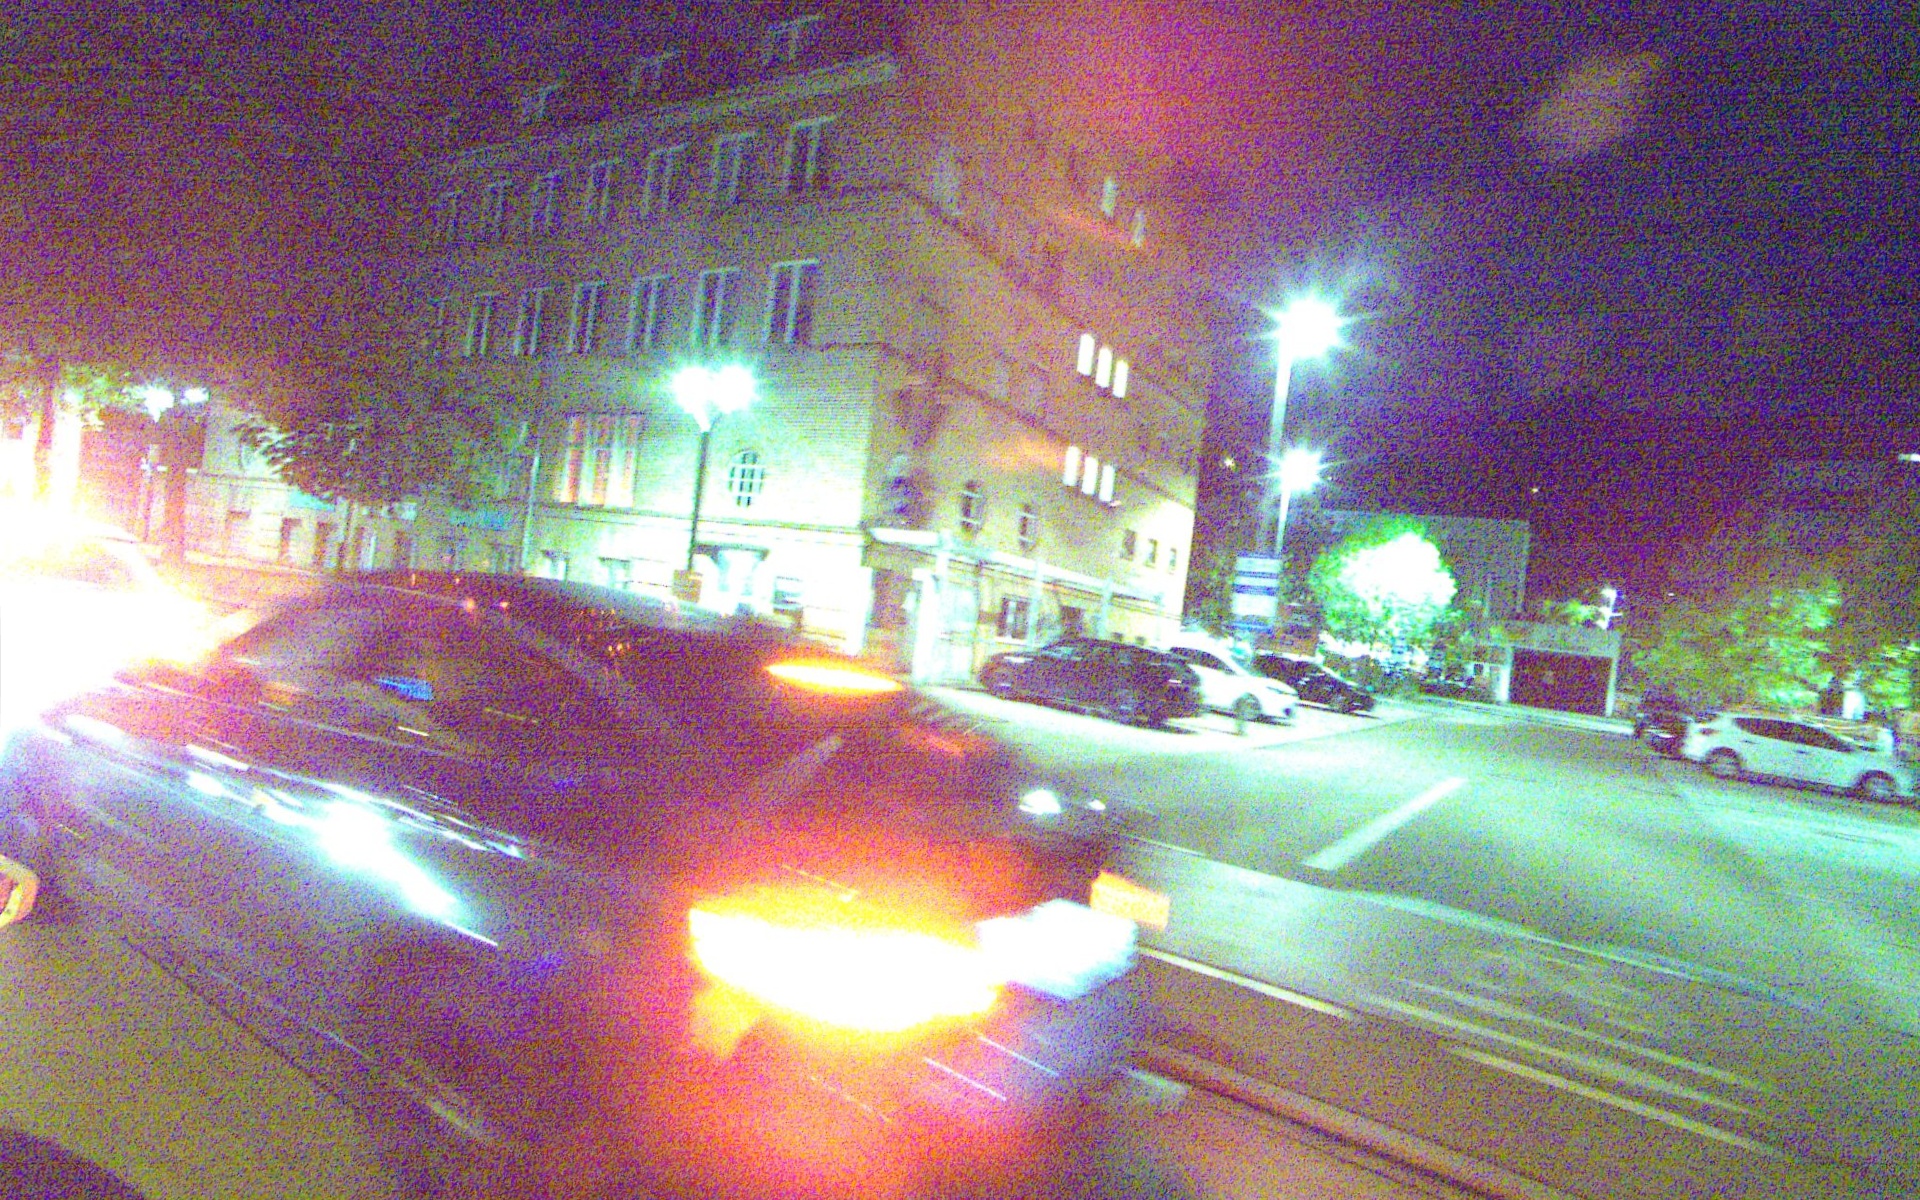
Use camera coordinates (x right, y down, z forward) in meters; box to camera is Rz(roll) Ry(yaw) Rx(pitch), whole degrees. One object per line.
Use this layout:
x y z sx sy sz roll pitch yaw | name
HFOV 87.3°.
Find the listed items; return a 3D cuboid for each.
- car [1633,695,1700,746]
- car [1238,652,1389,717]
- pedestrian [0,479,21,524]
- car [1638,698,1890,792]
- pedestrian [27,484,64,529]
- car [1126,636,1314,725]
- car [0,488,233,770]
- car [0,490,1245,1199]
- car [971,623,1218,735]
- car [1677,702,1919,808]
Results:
30.106 5.094 42.986 2.046 1.787 4.541 7 -1 34 | car
11.420 2.709 32.562 4.170 1.445 1.996 7 -1 32 | car
-40.821 -4.220 42.965 0.892 1.791 0.739 7 1 32 | pedestrian
20.870 3.719 26.450 4.810 1.531 1.892 7 0 31 | car
-40.110 -4.102 44.127 0.892 1.791 0.902 7 1 32 | pedestrian
6.316 1.923 24.534 3.936 1.552 1.783 7 0 34 | car
-6.708 -0.017 6.609 3.934 1.511 1.641 7 -2 32 | car
-1.653 0.631 3.523 4.652 1.510 1.809 7 -3 33 | car
2.508 1.462 19.412 4.412 1.412 1.513 8 0 36 | car
18.523 3.347 22.284 4.031 1.552 1.770 7 0 32 | car
